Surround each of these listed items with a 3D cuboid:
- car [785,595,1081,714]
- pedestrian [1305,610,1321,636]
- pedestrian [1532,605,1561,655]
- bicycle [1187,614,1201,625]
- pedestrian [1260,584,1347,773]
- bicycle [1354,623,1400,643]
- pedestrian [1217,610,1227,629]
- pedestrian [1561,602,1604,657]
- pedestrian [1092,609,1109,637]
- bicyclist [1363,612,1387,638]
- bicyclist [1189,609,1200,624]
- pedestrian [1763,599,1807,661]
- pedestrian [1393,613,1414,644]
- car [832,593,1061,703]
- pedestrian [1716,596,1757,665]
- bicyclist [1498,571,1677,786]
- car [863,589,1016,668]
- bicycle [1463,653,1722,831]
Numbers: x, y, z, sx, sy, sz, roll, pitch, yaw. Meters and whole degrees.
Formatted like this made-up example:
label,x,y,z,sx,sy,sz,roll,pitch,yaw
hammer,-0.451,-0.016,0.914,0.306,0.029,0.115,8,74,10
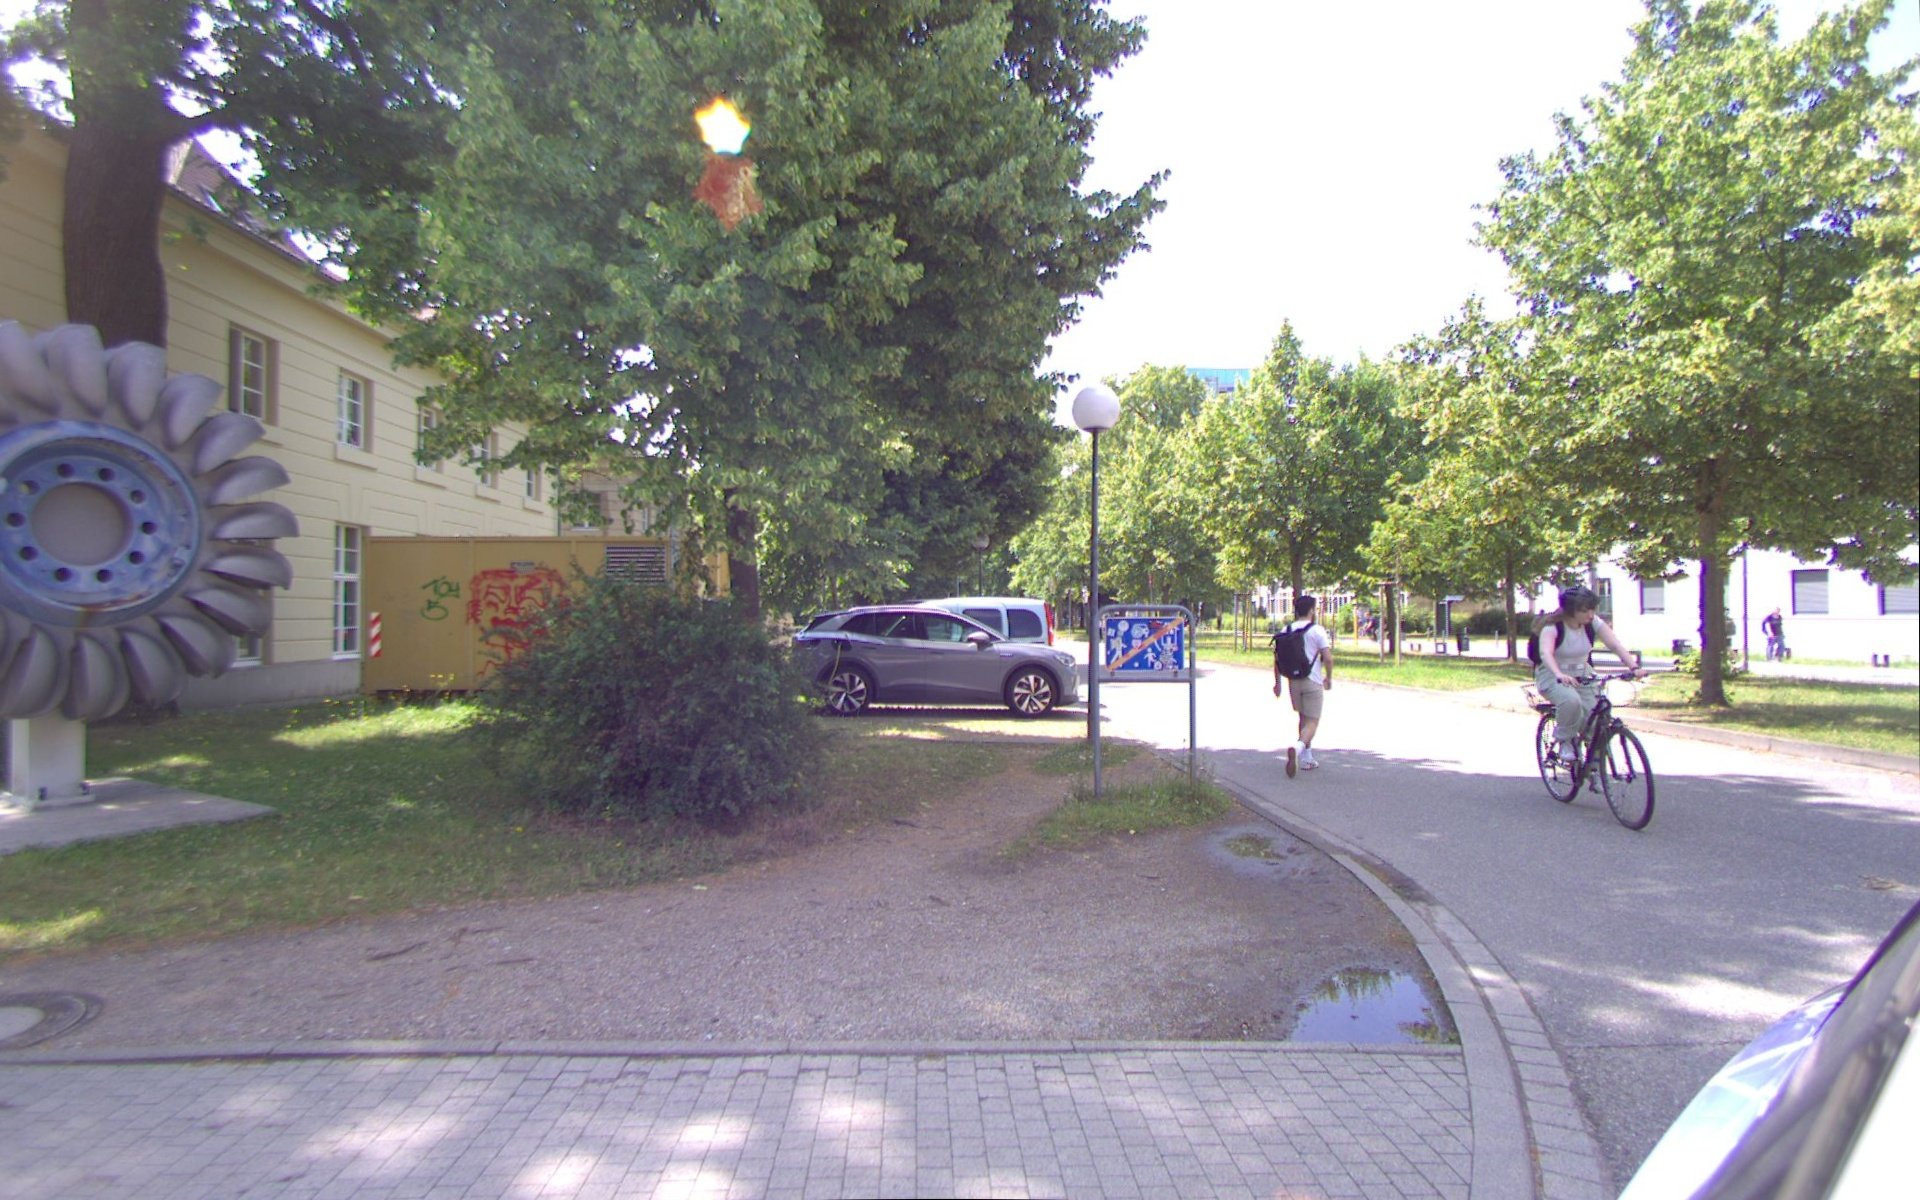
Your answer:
label,x,y,z,sx,sy,sz,roll,pitch,yaw
car,-0.428,0.809,15.618,4.277,1.673,1.896,1,-1,-3
pedestrian,23.549,1.538,67.545,0.781,1.744,0.635,0,-1,-2
pedestrian,19.777,1.001,34.115,0.723,1.678,0.705,-1,-1,39
bicycle,22.264,1.876,96.367,0.764,1.045,2.150,0,-1,-3
pedestrian,3.308,0.737,9.786,0.630,1.767,0.582,0,-1,1
bicycle,20.648,1.627,50.121,1.911,0.929,0.798,0,-1,3
pedestrian,22.878,1.686,88.347,0.585,1.650,0.763,0,-1,-2
pedestrian,20.896,0.972,33.998,0.780,1.798,1.093,0,-1,3
pedestrian,7.580,1.214,54.726,0.781,1.507,0.635,0,-1,-2
bicyclist,20.567,1.214,50.124,0.885,1.275,0.798,0,-1,3
bicyclist,22.276,1.575,96.224,0.764,1.350,0.828,0,-1,-2
pedestrian,23.089,0.839,28.334,0.616,1.709,0.725,0,-1,-2
pedestrian,24.224,1.546,55.279,0.836,1.670,0.801,0,-1,9
car,-0.271,0.826,18.202,3.921,1.861,1.825,0,-1,-3
pedestrian,20.589,0.808,26.827,0.816,1.792,0.710,1,-1,-42
bicyclist,4.689,0.556,7.645,0.663,1.497,1.062,-2,-1,3
car,-0.555,0.754,27.311,3.975,2.039,2.000,0,-1,-1
bicycle,4.700,0.991,7.747,0.663,1.086,2.134,-2,-1,2
